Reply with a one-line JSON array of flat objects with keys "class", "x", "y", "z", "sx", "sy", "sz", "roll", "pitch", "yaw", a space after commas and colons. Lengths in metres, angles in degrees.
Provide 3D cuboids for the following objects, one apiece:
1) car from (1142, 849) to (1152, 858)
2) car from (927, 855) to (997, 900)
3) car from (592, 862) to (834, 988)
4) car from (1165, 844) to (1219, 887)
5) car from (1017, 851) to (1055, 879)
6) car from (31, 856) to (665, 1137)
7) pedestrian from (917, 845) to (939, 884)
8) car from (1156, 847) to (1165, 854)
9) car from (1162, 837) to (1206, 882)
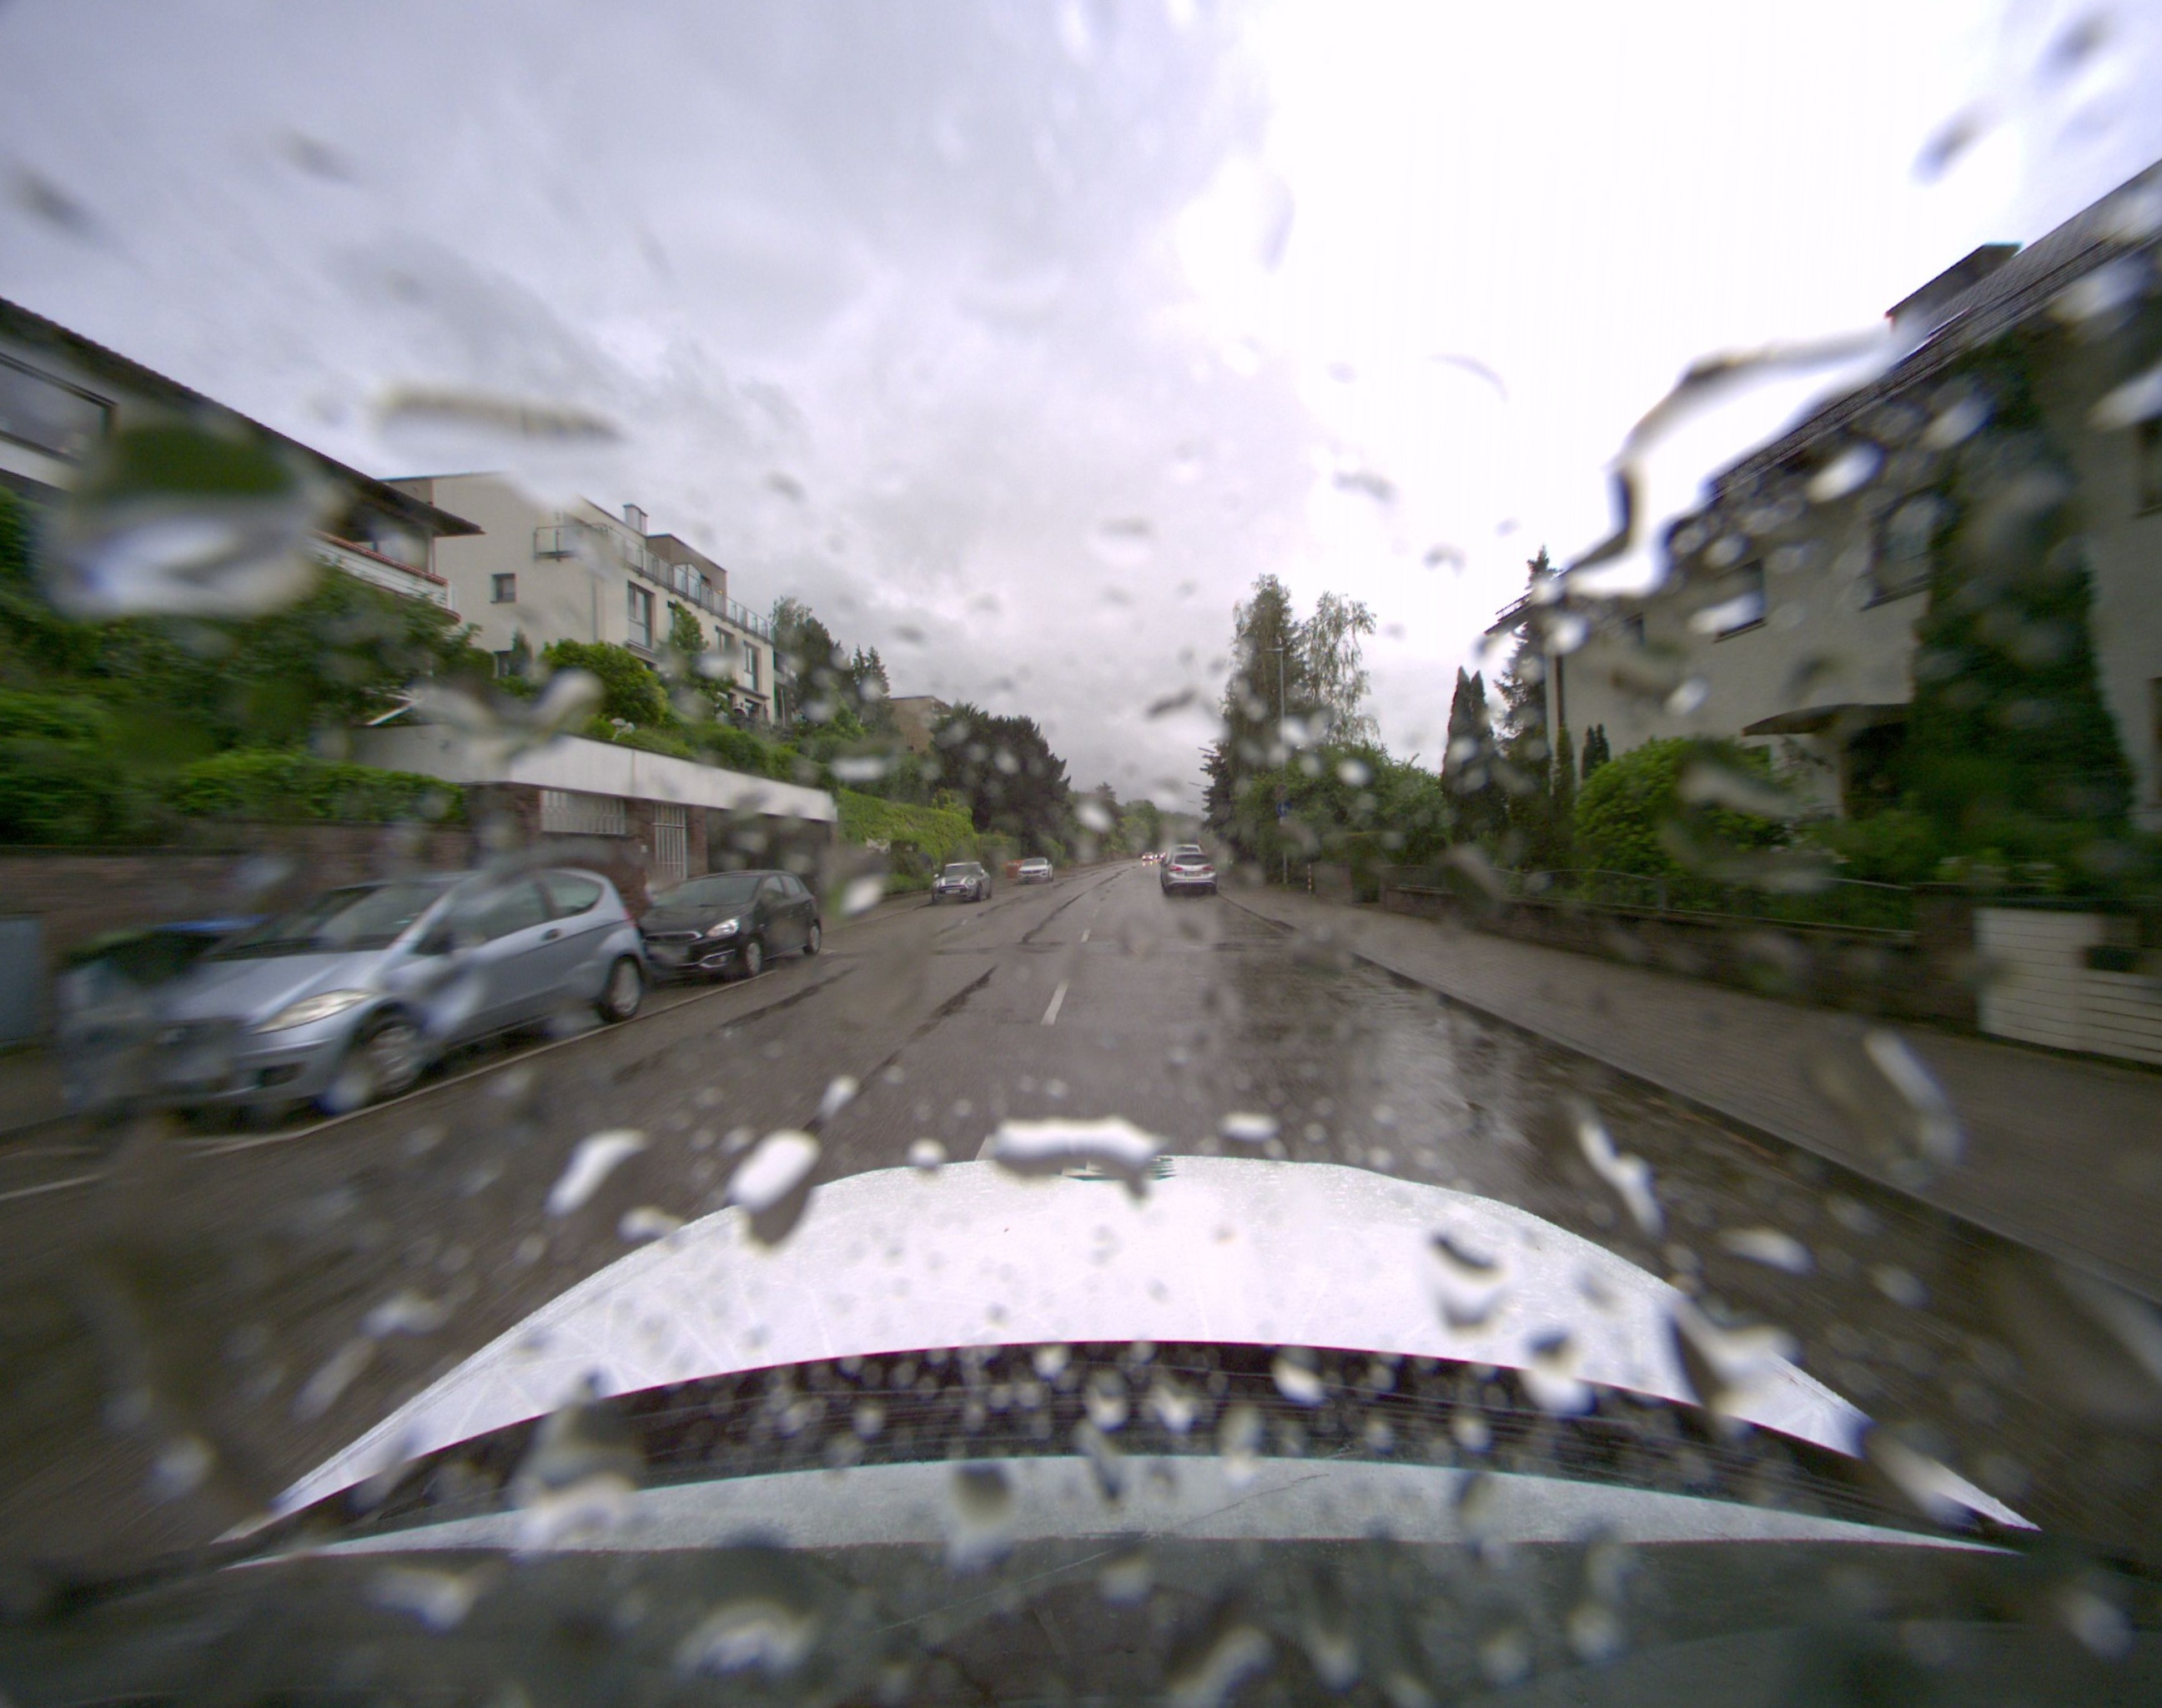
[{"class": "car", "x": 11.535, "y": -0.138, "z": 142.357, "sx": 1.655, "sy": 1.461, "sz": 3.665, "roll": -1, "pitch": 0, "yaw": 3}, {"class": "car", "x": -4.258, "y": 0.804, "z": 29.658, "sx": 1.749, "sy": 1.402, "sz": 3.772, "roll": -4, "pitch": 0, "yaw": 2}, {"class": "car", "x": -5.252, "y": 0.925, "z": 12.240, "sx": 1.749, "sy": 1.409, "sz": 3.706, "roll": -5, "pitch": 0, "yaw": 2}, {"class": "car", "x": 4.013, "y": 0.394, "z": 29.905, "sx": 1.780, "sy": 1.460, "sz": 4.315, "roll": -1, "pitch": 0, "yaw": 5}, {"class": "car", "x": -2.638, "y": 0.633, "z": 48.813, "sx": 1.748, "sy": 1.498, "sz": 4.223, "roll": -3, "pitch": 0, "yaw": 3}, {"class": "car", "x": -5.458, "y": 0.879, "z": 6.868, "sx": 1.749, "sy": 1.539, "sz": 3.758, "roll": -5, "pitch": 0, "yaw": 2}, {"class": "pedestrian", "x": -7.575, "y": 0.523, "z": 40.313, "sx": 0.838, "sy": 1.880, "sz": 0.903, "roll": -1, "pitch": -1, "yaw": 6}, {"class": "car", "x": 16.626, "y": -0.715, "z": 170.238, "sx": 1.646, "sy": 1.352, "sz": 3.993, "roll": -1, "pitch": 0, "yaw": 5}, {"class": "car", "x": 4.427, "y": 0.229, "z": 35.539, "sx": 1.776, "sy": 1.790, "sz": 4.368, "roll": -1, "pitch": 0, "yaw": 5}]
